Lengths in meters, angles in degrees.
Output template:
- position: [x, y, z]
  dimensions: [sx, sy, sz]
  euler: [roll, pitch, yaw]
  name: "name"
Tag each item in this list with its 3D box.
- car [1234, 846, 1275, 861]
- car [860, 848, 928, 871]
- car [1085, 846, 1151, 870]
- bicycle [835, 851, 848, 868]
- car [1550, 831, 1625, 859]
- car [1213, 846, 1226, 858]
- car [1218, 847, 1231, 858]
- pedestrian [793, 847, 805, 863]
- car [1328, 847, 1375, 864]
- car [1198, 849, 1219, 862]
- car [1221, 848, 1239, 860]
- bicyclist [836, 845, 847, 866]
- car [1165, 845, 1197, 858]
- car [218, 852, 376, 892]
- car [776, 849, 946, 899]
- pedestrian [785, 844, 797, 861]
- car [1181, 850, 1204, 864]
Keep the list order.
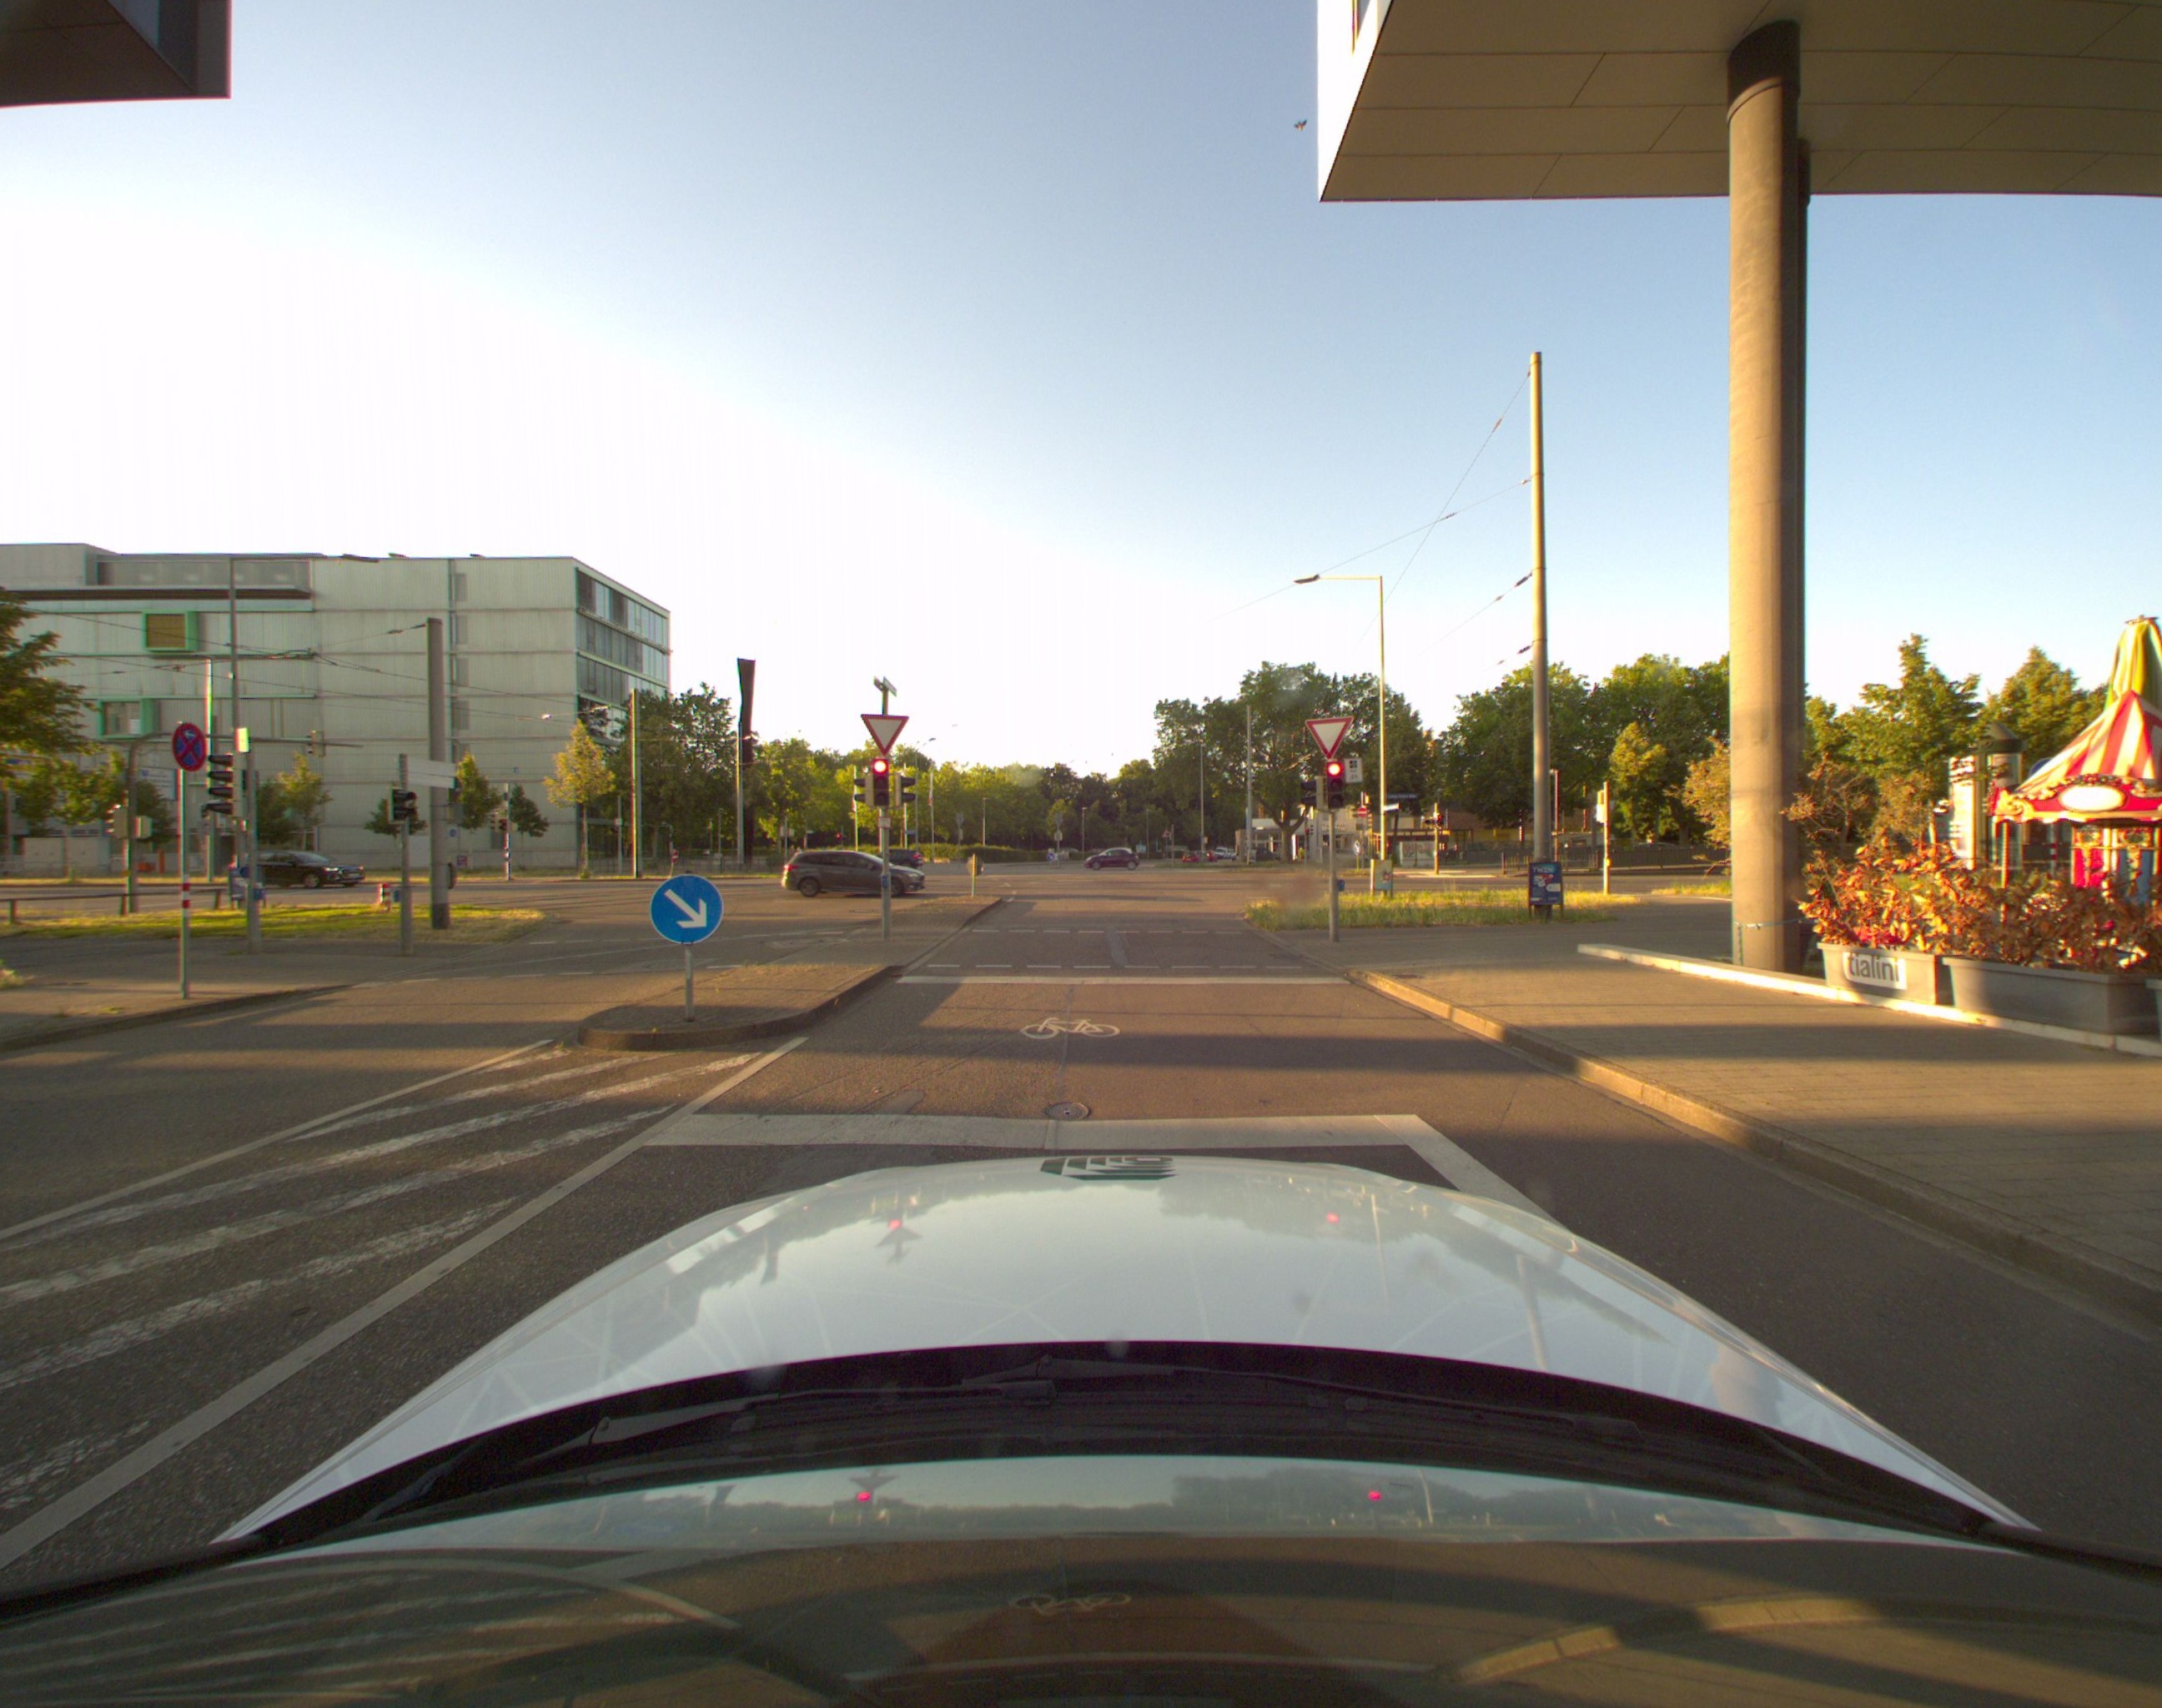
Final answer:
- position: [18.914, 0.001, 88.912]
  dimensions: [4.194, 1.552, 2.005]
  euler: [-1, -1, 9]
  name: "car"
- position: [-13.055, 0.396, 56.984]
  dimensions: [4.313, 1.496, 1.806]
  euler: [-1, -1, 3]
  name: "car"
- position: [2.460, 0.253, 54.280]
  dimensions: [4.313, 1.496, 1.806]
  euler: [-1, -1, 3]
  name: "car"
- position: [-19.538, 0.471, 66.425]
  dimensions: [0.730, 1.341, 2.681]
  euler: [-1, 0, -11]
  name: "bicycle"
- position: [47.885, -0.835, 77.067]
  dimensions: [5.561, 2.551, 2.235]
  euler: [-1, 0, 9]
  name: "car"
- position: [22.254, -0.268, 130.891]
  dimensions: [1.850, 1.794, 4.013]
  euler: [-1, -1, 12]
  name: "car"
- position: [23.917, -0.275, 135.749]
  dimensions: [1.849, 1.794, 4.015]
  euler: [-1, -1, 14]
  name: "car"
- position: [-29.883, 0.116, 86.211]
  dimensions: [0.852, 1.744, 0.835]
  euler: [-1, 0, 34]
  name: "pedestrian"
- position: [23.810, 0.159, 71.860]
  dimensions: [3.715, 1.440, 1.669]
  euler: [-1, -1, 11]
  name: "car"
- position: [16.196, 0.201, 103.190]
  dimensions: [1.978, 1.662, 4.018]
  euler: [-1, -1, 17]
  name: "car"
- position: [21.075, -0.017, 115.311]
  dimensions: [1.978, 1.662, 4.018]
  euler: [-1, -1, 17]
  name: "car"
- position: [-19.516, 0.136, 66.457]
  dimensions: [0.751, 1.709, 0.916]
  euler: [-1, 0, -12]
  name: "bicyclist"
- position: [15.401, -0.349, 125.740]
  dimensions: [4.753, 2.006, 2.002]
  euler: [-1, -1, 3]
  name: "car"
- position: [-32.509, 0.732, 33.900]
  dimensions: [4.467, 1.557, 1.986]
  euler: [-1, 0, -4]
  name: "car"
- position: [-7.123, 0.614, 26.729]
  dimensions: [4.992, 1.511, 1.987]
  euler: [-1, 0, -1]
  name: "car"
- position: [-30.391, -0.178, 85.433]
  dimensions: [0.852, 1.744, 0.835]
  euler: [-1, 0, 32]
  name: "pedestrian"
- position: [13.095, 0.365, 95.569]
  dimensions: [1.978, 1.662, 4.018]
  euler: [-1, -1, 17]
  name: "car"
